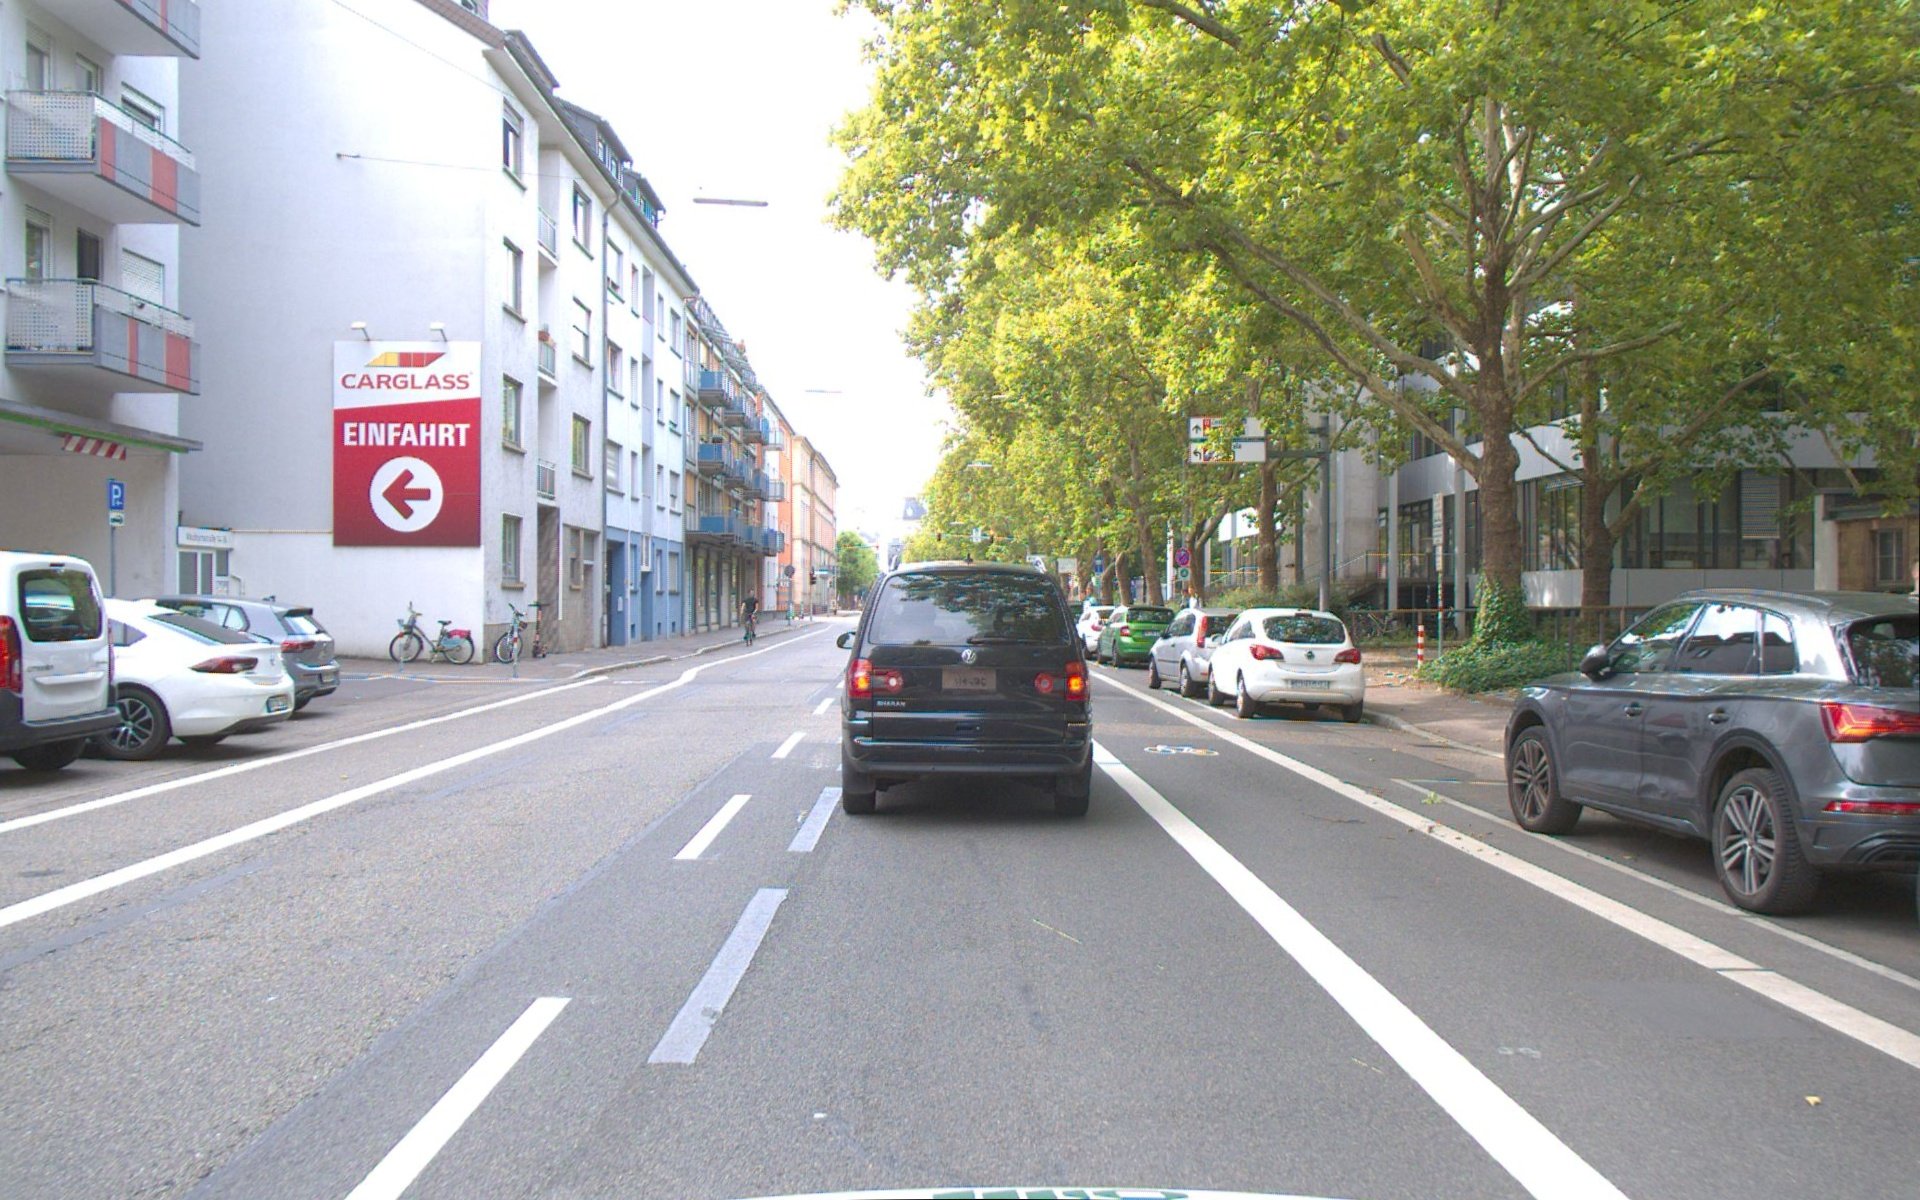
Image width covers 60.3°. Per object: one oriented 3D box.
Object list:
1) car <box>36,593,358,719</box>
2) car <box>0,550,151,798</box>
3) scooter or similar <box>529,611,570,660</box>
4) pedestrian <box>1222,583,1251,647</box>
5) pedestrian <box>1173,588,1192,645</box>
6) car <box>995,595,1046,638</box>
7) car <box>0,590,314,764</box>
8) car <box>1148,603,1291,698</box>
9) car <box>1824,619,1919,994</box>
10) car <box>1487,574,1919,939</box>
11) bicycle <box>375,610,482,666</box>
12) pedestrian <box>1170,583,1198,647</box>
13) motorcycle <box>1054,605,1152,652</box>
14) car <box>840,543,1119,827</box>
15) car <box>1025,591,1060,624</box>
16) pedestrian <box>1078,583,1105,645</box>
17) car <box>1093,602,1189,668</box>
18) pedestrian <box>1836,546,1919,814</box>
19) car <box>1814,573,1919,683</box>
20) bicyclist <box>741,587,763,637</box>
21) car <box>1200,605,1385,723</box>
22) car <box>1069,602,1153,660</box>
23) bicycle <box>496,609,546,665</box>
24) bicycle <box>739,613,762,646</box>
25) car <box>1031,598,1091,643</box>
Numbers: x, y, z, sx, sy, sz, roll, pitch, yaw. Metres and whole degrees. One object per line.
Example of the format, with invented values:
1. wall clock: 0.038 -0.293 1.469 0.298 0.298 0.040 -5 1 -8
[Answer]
1. car: -9.452 0.682 20.663 3.276 1.426 1.503 2 0 -3
2. car: -9.245 0.494 13.569 4.221 1.902 1.823 2 0 -3
3. scooter or similar: -9.285 0.820 37.442 0.619 1.052 2.012 1 -2 -7
4. pedestrian: 8.132 0.426 48.630 0.751 1.863 0.516 0 0 -1
5. pedestrian: 6.751 0.496 50.184 0.499 1.709 0.516 0 0 0
6. car: 2.489 0.669 68.727 1.709 1.719 3.800 0 0 -4
7. car: -8.201 0.703 15.946 3.276 1.523 1.595 2 0 -3
8. car: 4.345 0.814 28.140 1.609 1.438 3.413 2 0 -5
9. car: 4.707 0.839 5.214 1.597 1.495 4.316 0 0 -2
10. car: 4.814 0.736 9.900 1.635 1.669 4.501 2 0 -3
11. bicycle: -10.600 0.755 33.010 1.967 1.052 0.410 2 1 0
12. pedestrian: 6.562 0.447 48.415 0.751 1.863 0.516 0 0 -1
13. motorcycle: 4.174 0.823 48.268 2.780 1.348 0.765 0 0 -1
14. car: 0.006 0.550 12.480 1.776 1.797 3.735 1 0 -4
15. car: 4.625 0.406 93.187 1.751 1.803 3.999 0 0 -1
16. pedestrian: 3.953 0.419 49.661 0.751 1.863 0.516 0 0 -1
17. car: 4.281 0.803 39.554 1.609 1.438 3.413 2 0 -5
18. pedestrian: 6.263 0.514 10.970 0.575 1.731 0.508 1 1 0
19. car: 13.994 0.396 23.645 1.442 1.484 3.917 1 2 -1
20. bicyclist: -7.047 0.417 56.037 0.640 1.639 0.655 1 -3 -4
21. car: 4.607 0.831 23.530 1.641 1.418 4.460 2 0 -1
22. car: 3.995 0.799 44.171 1.609 1.419 3.509 2 0 -5
23. bicycle: -9.191 0.766 34.673 0.618 1.052 2.014 1 2 -4
24. bicycle: -7.053 0.992 55.705 0.618 1.052 2.013 1 -2 -3
25. car: 3.589 0.710 59.417 1.609 1.513 3.509 2 0 -5
